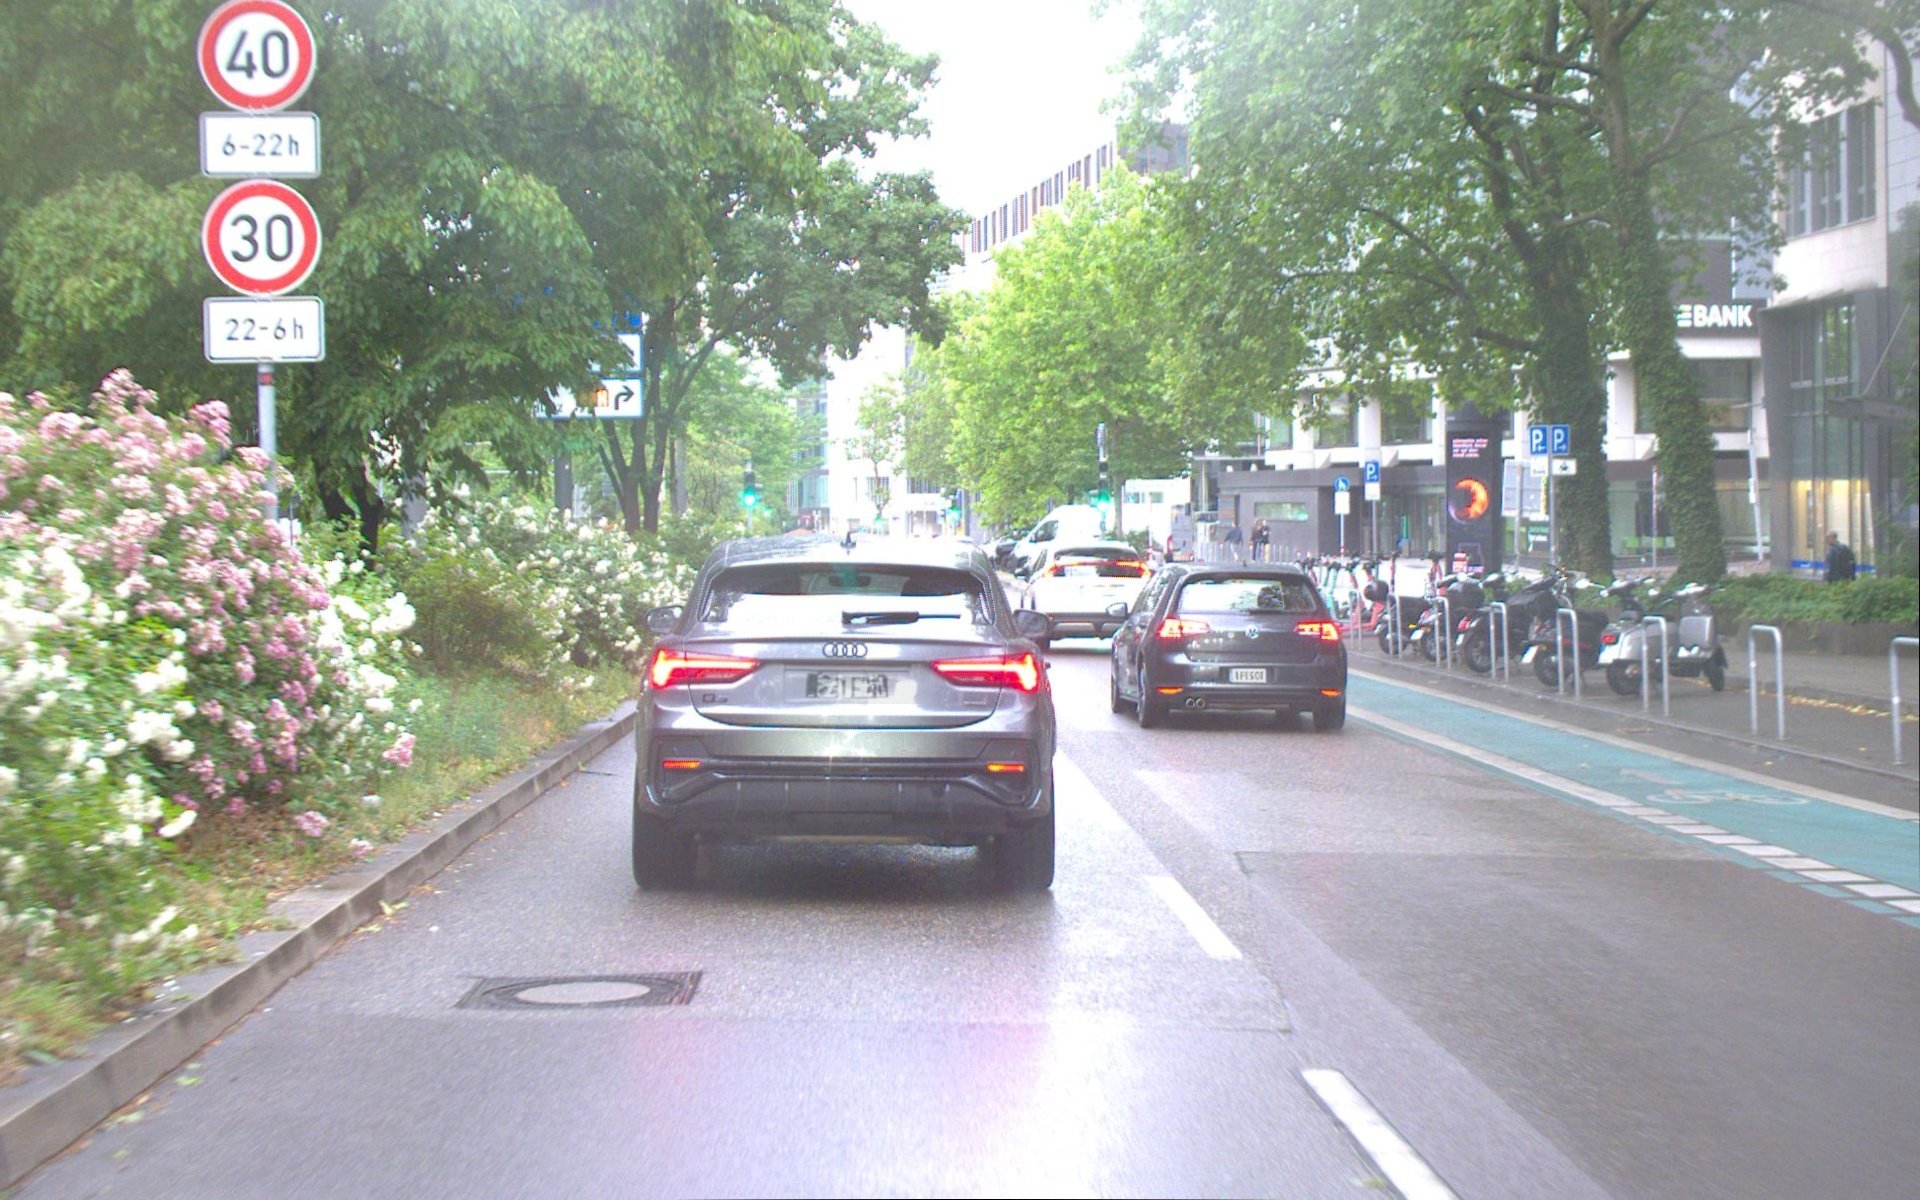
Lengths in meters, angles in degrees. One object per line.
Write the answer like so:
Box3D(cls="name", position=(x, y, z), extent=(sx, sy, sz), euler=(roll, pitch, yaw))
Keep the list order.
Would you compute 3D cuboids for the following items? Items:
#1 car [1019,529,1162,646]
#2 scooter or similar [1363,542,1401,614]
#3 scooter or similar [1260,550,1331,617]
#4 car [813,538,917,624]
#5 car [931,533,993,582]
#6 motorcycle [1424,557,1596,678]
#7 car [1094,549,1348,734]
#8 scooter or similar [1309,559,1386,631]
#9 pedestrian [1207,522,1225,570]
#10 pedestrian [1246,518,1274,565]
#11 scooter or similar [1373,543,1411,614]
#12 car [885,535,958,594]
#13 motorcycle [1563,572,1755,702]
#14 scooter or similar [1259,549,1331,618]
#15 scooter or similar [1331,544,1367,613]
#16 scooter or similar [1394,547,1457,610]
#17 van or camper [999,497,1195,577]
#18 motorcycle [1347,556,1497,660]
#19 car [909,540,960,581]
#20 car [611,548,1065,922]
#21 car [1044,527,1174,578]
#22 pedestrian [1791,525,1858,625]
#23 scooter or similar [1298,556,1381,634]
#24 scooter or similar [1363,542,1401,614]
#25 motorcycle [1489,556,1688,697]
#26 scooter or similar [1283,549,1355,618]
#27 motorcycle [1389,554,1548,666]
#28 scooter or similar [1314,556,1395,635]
Box3D(cls="car", position=(1.897, -0.211, 51.063), extent=(1.849, 1.663, 4.039), euler=(0, 1, -2))
Box3D(cls="scooter or similar", position=(7.722, -0.404, 62.982), extent=(0.487, 1.255, 1.294), euler=(-1, 3, -1))
Box3D(cls="scooter or similar", position=(6.425, -0.319, 65.878), extent=(1.290, 1.255, 0.489), euler=(-1, 3, 11))
Box3D(cls="car", position=(-1.749, -0.370, 63.412), extent=(1.849, 1.518, 4.039), euler=(0, 1, -2))
Box3D(cls="car", position=(0.049, -1.353, 108.902), extent=(1.849, 1.518, 4.039), euler=(0, 1, -2))
Box3D(cls="motorcycle", position=(6.714, 0.200, 41.943), extent=(1.955, 1.369, 0.729), euler=(-2, 3, -22))
Box3D(cls="car", position=(2.254, 0.318, 30.652), extent=(1.849, 1.518, 4.039), euler=(0, 1, -2))
Box3D(cls="scooter or similar", position=(6.888, -0.098, 61.163), extent=(1.289, 1.231, 0.489), euler=(-1, 2, 1))
Box3D(cls="pedestrian", position=(9.722, -2.059, 130.646), extent=(0.553, 1.799, 0.762), euler=(1, 0, -5))
Box3D(cls="pedestrian", position=(10.894, -2.131, 124.907), extent=(0.805, 1.690, 1.187), euler=(1, 1, -5))
Box3D(cls="scooter or similar", position=(8.068, -0.406, 64.220), extent=(0.487, 1.255, 1.294), euler=(-1, 3, -1))
Box3D(cls="car", position=(-1.022, -0.950, 90.182), extent=(1.849, 1.518, 4.039), euler=(0, 1, -2))
Box3D(cls="motorcycle", position=(7.170, 0.373, 35.206), extent=(2.054, 1.208, 0.685), euler=(-3, 1, -37))
Box3D(cls="scooter or similar", position=(6.365, -0.317, 65.265), extent=(1.290, 1.255, 0.489), euler=(-1, 3, 11))
Box3D(cls="scooter or similar", position=(7.451, -0.422, 65.915), extent=(0.487, 1.255, 1.294), euler=(-1, 3, -1))
Box3D(cls="scooter or similar", position=(9.010, -0.416, 66.575), extent=(0.487, 1.193, 1.293), euler=(0, 0, -32))
Box3D(cls="van or camper", position=(4.450, -2.039, 111.929), extent=(6.074, 2.549, 2.102), euler=(0, 1, 26))
Box3D(cls="motorcycle", position=(6.537, 0.101, 48.647), extent=(1.955, 1.369, 0.729), euler=(-2, 3, -17))
Box3D(cls="car", position=(-0.983, -1.507, 130.690), extent=(1.849, 1.518, 4.039), euler=(0, 1, -2))
Box3D(cls="car", position=(-0.578, 0.525, 16.087), extent=(1.849, 1.518, 4.039), euler=(0, 1, -2))
Box3D(cls="car", position=(4.589, -1.473, 105.820), extent=(3.652, 1.542, 1.713), euler=(1, 1, 18))
Box3D(cls="pedestrian", position=(16.206, -0.471, 64.476), extent=(0.917, 1.844, 1.277), euler=(1, 0, 0))
Box3D(cls="scooter or similar", position=(6.521, -0.091, 59.018), extent=(1.289, 1.274, 0.537), euler=(-2, 3, -12))
Box3D(cls="scooter or similar", position=(7.722, -0.404, 62.982), extent=(0.487, 1.255, 1.294), euler=(-1, 3, -1))
Box3D(cls="motorcycle", position=(6.871, 0.272, 37.552), extent=(2.053, 1.423, 0.729), euler=(-2, 3, -22))
Box3D(cls="scooter or similar", position=(6.754, -0.310, 64.739), extent=(1.290, 1.255, 0.489), euler=(-1, 3, 11))
Box3D(cls="motorcycle", position=(6.708, 0.120, 45.375), extent=(1.955, 1.369, 0.729), euler=(-2, 3, -22))
Box3D(cls="scooter or similar", position=(6.641, -0.084, 57.891), extent=(1.289, 1.274, 0.537), euler=(-1, 3, 3))
